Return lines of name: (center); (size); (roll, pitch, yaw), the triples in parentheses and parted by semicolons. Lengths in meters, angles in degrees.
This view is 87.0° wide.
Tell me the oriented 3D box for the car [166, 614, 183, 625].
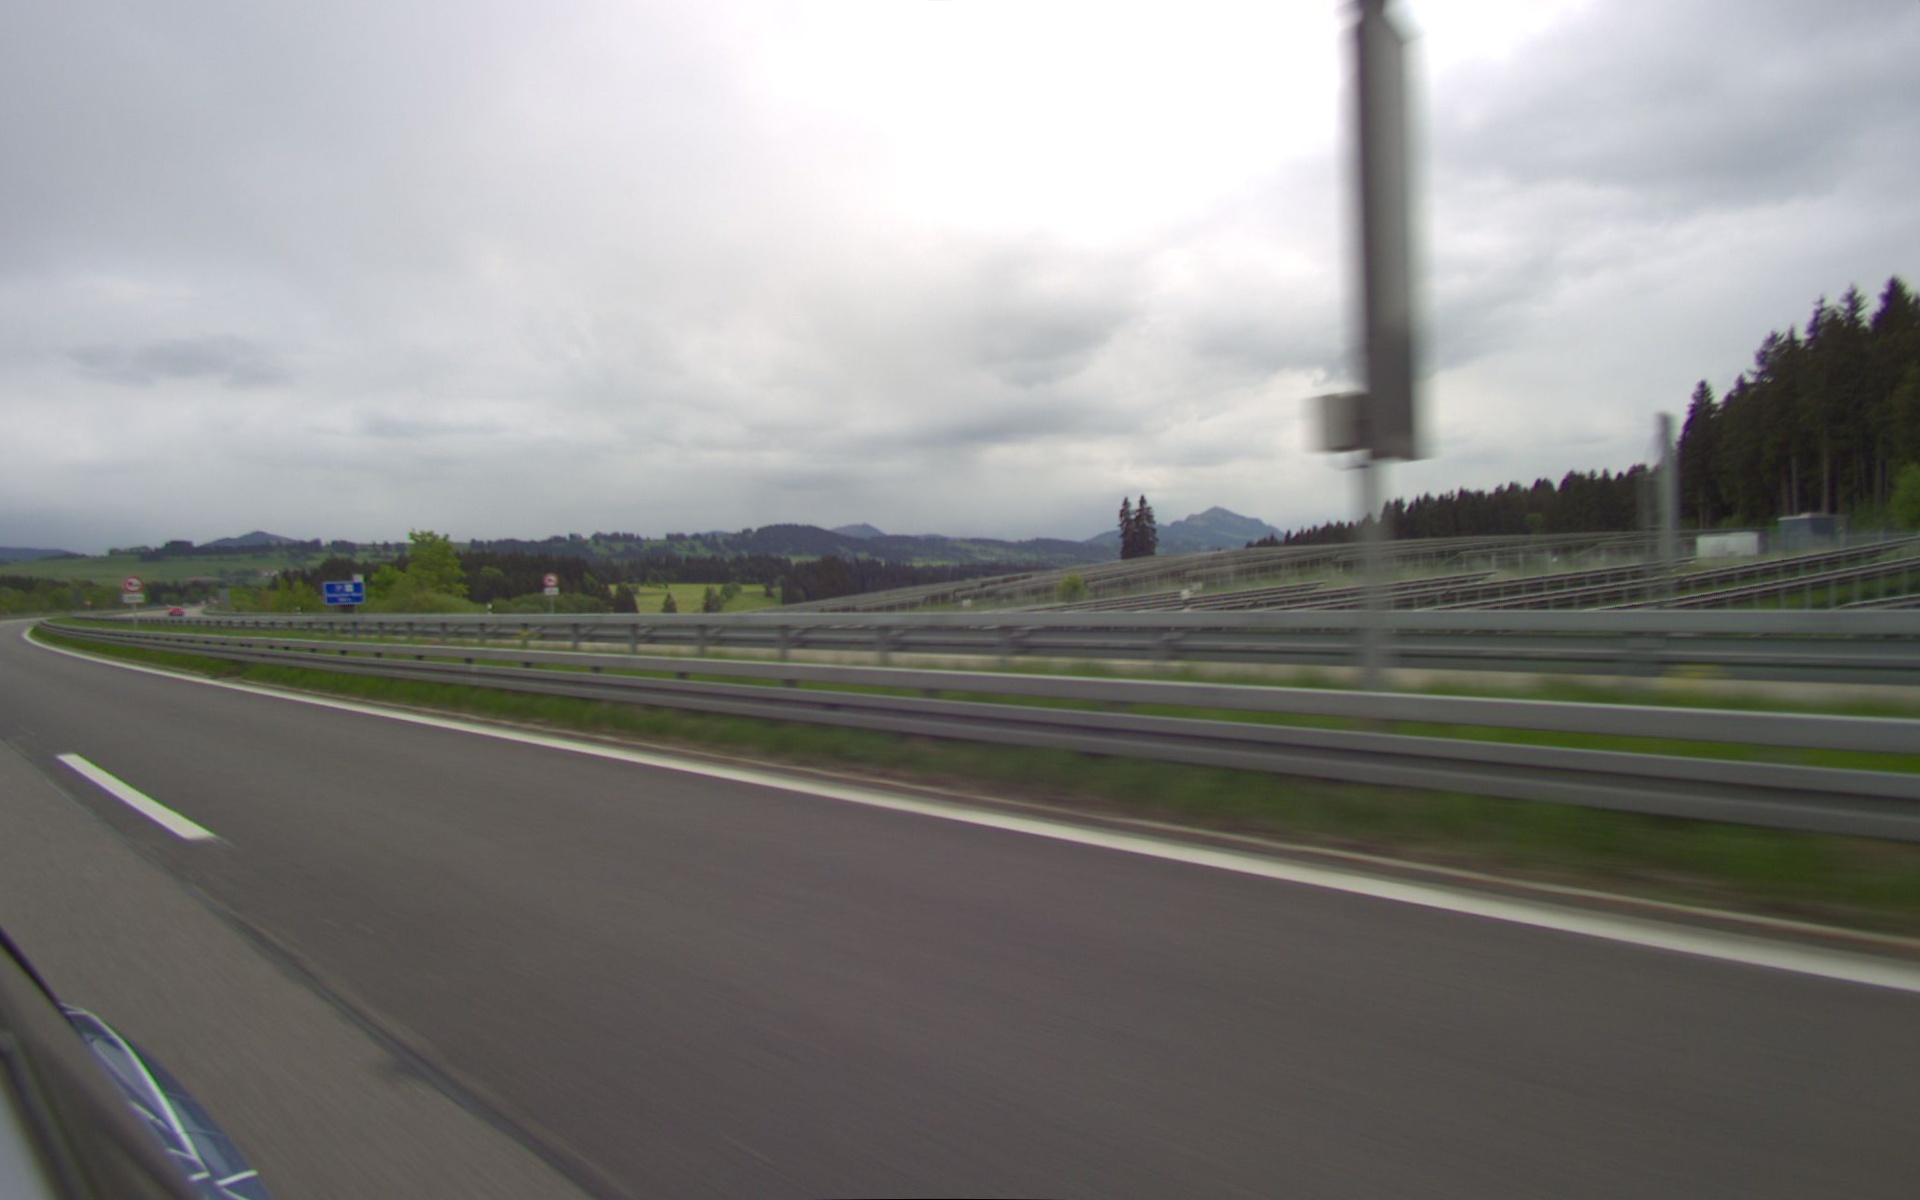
car: (-118.631, 2.950, 152.826); (1.968, 1.509, 4.159); (-4, 2, -38)
